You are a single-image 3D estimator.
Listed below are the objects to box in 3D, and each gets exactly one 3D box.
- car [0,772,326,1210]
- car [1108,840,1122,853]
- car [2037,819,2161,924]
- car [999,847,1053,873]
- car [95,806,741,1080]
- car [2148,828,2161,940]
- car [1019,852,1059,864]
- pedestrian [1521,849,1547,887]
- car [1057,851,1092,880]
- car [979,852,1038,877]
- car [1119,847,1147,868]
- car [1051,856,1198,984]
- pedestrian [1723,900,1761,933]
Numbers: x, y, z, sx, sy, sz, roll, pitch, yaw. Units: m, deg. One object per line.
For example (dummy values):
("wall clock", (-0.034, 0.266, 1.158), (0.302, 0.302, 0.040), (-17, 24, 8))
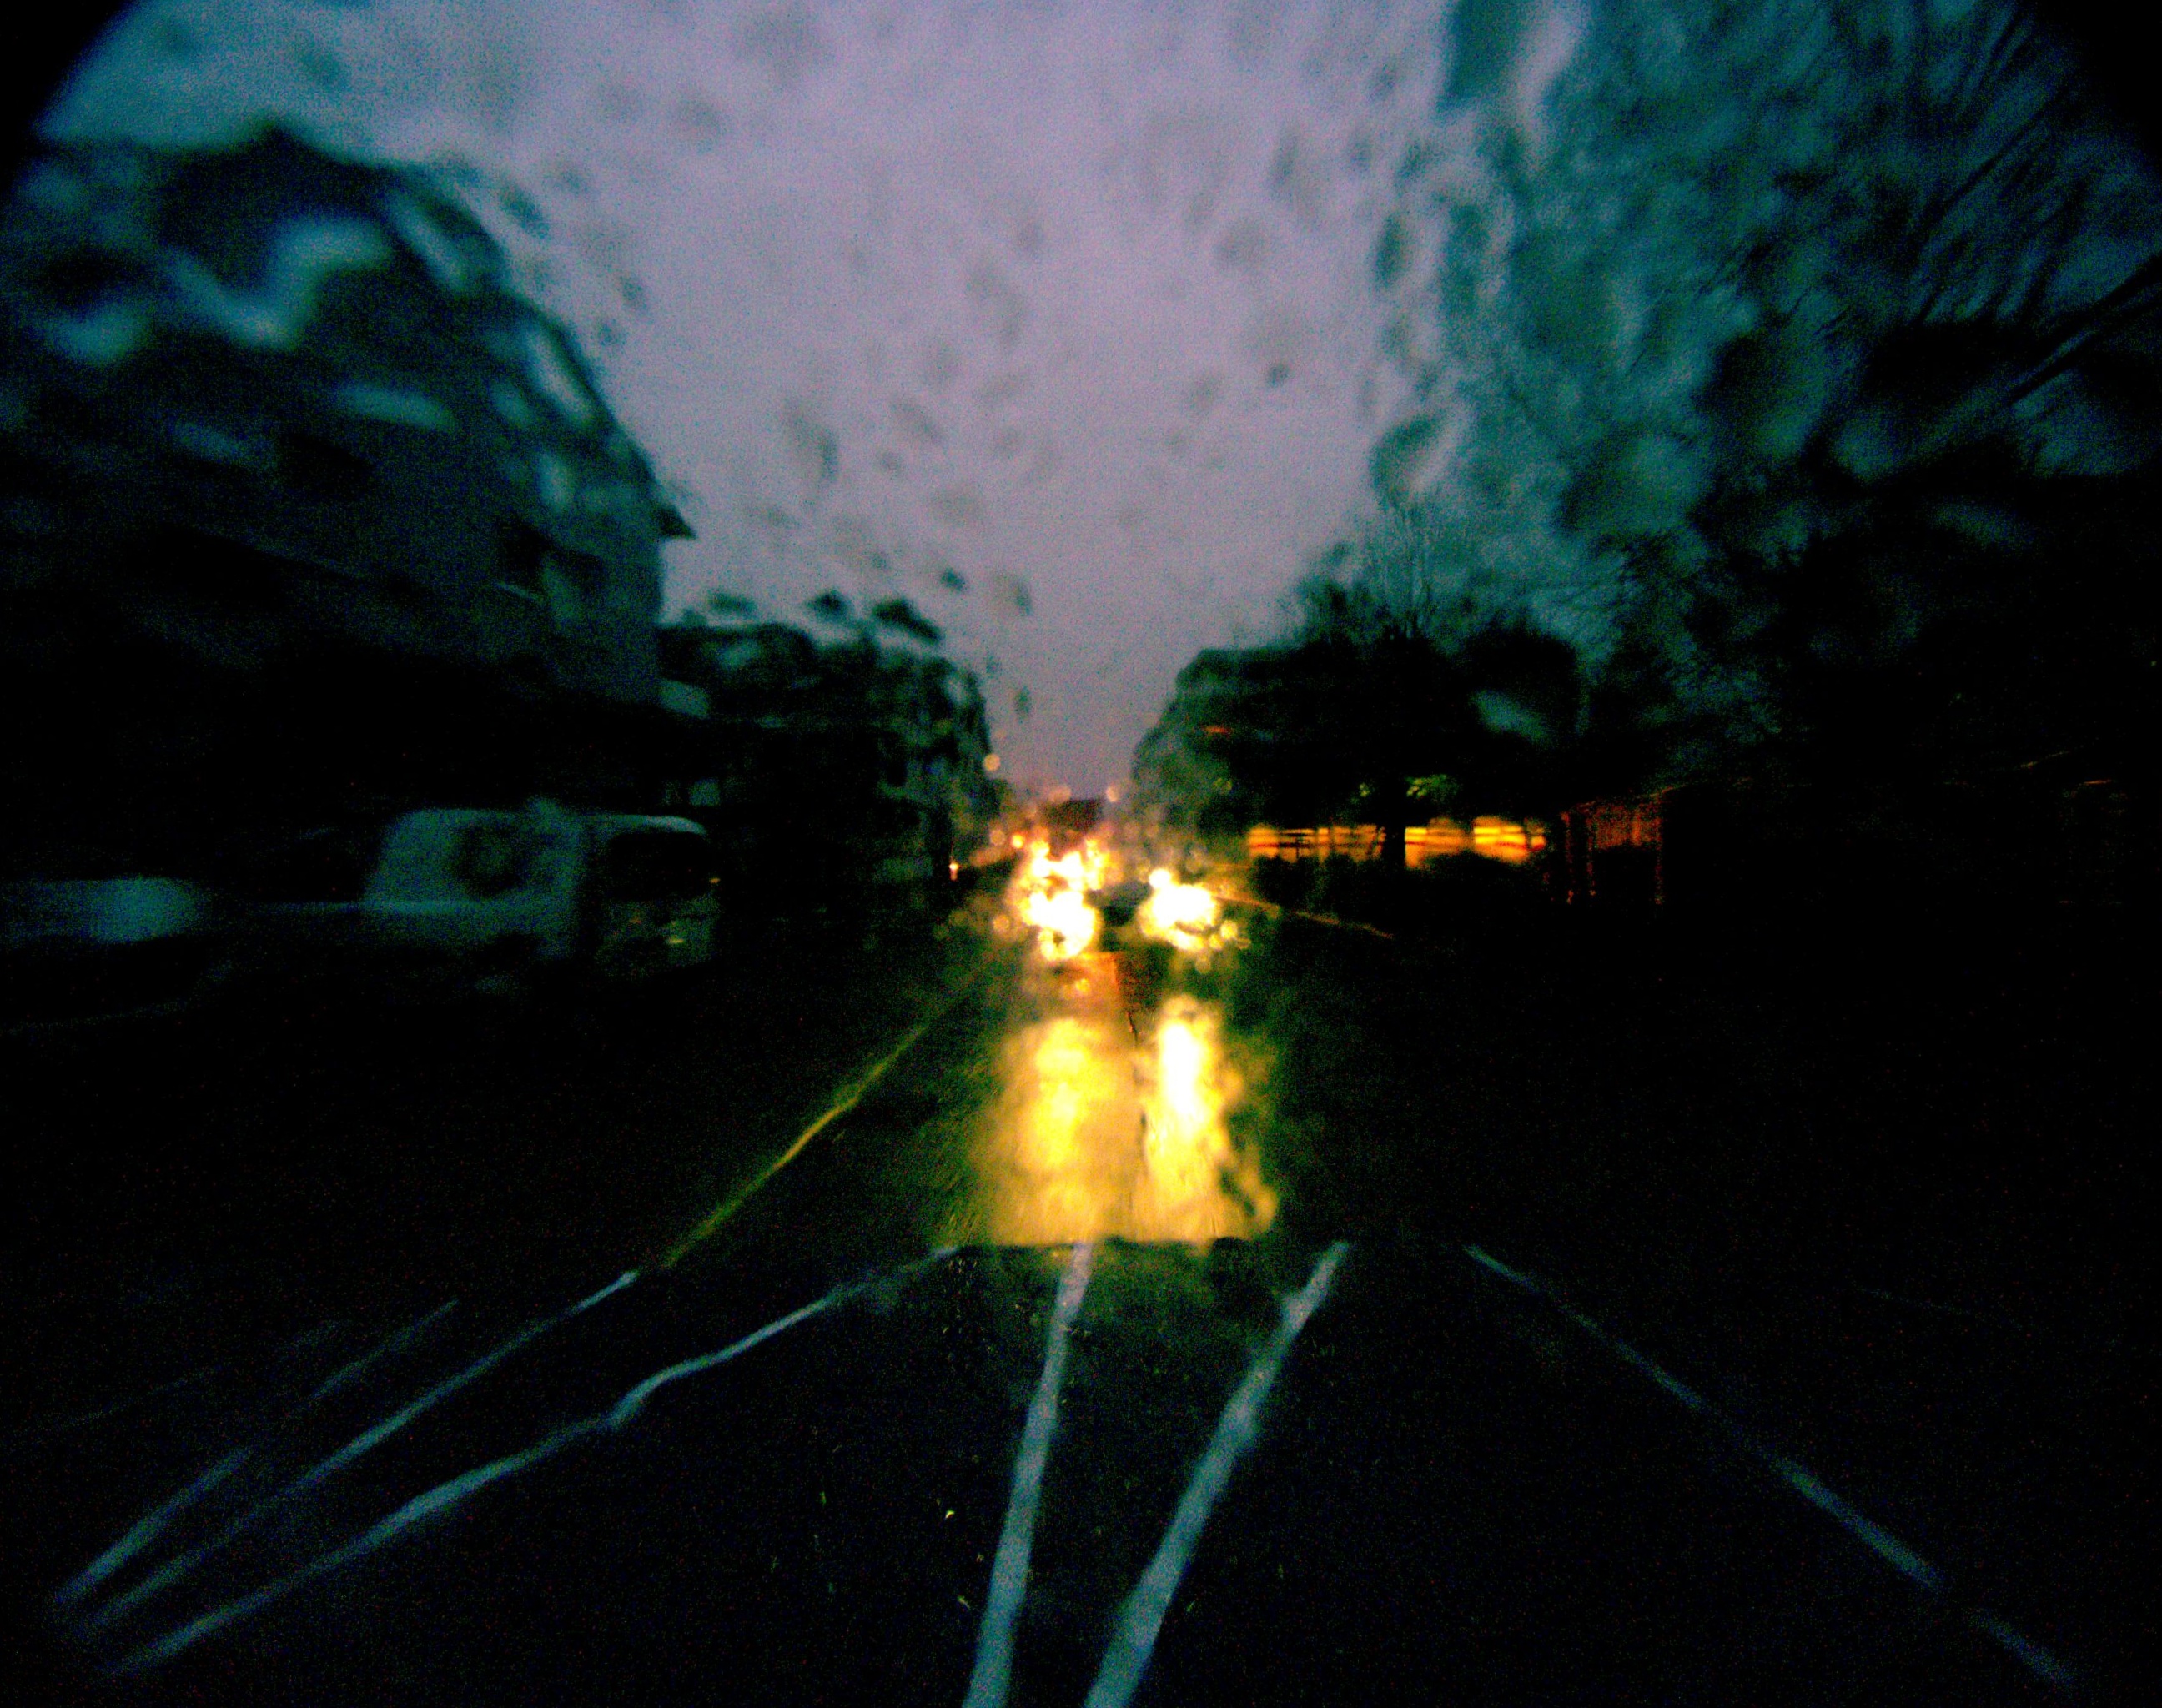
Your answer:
("car", (-7.015, 0.516, 3.923), (4.988, 1.878, 1.938), (2, 1, 11))
("car", (5.298, -1.117, 118.598), (1.837, 2.002, 3.699), (-1, 0, -1))
("car", (18.267, 0.264, 11.766), (3.988, 1.623, 1.638), (0, 1, 35))
("car", (-4.105, 0.414, 56.152), (3.890, 1.866, 1.868), (0, 0, -7))
("car", (-5.330, 0.594, 6.445), (4.050, 1.833, 1.864), (2, 1, 7))
("car", (16.568, 0.404, 9.376), (3.624, 1.603, 1.613), (-1, 1, 38))
("car", (-4.083, 0.376, 74.696), (3.888, 1.121, 1.551), (0, 0, -1))
("pedestrian", (16.097, 0.501, 26.986), (0.620, 1.331, 0.568), (-1, 0, 11))
("car", (-0.433, 0.668, 45.250), (1.924, 1.608, 3.867), (-1, 0, -3))
("car", (-4.810, 0.690, 50.741), (3.853, 1.618, 1.611), (1, 0, -6))
("car", (4.212, 0.241, 62.019), (1.900, 1.607, 3.826), (-1, 0, 0))
("car", (0.604, 0.811, 11.012), (1.731, 1.475, 3.604), (-2, 0, 3))
("pedestrian", (10.464, 0.989, 12.034), (0.295, 0.482, 0.361), (1, 1, 4))
